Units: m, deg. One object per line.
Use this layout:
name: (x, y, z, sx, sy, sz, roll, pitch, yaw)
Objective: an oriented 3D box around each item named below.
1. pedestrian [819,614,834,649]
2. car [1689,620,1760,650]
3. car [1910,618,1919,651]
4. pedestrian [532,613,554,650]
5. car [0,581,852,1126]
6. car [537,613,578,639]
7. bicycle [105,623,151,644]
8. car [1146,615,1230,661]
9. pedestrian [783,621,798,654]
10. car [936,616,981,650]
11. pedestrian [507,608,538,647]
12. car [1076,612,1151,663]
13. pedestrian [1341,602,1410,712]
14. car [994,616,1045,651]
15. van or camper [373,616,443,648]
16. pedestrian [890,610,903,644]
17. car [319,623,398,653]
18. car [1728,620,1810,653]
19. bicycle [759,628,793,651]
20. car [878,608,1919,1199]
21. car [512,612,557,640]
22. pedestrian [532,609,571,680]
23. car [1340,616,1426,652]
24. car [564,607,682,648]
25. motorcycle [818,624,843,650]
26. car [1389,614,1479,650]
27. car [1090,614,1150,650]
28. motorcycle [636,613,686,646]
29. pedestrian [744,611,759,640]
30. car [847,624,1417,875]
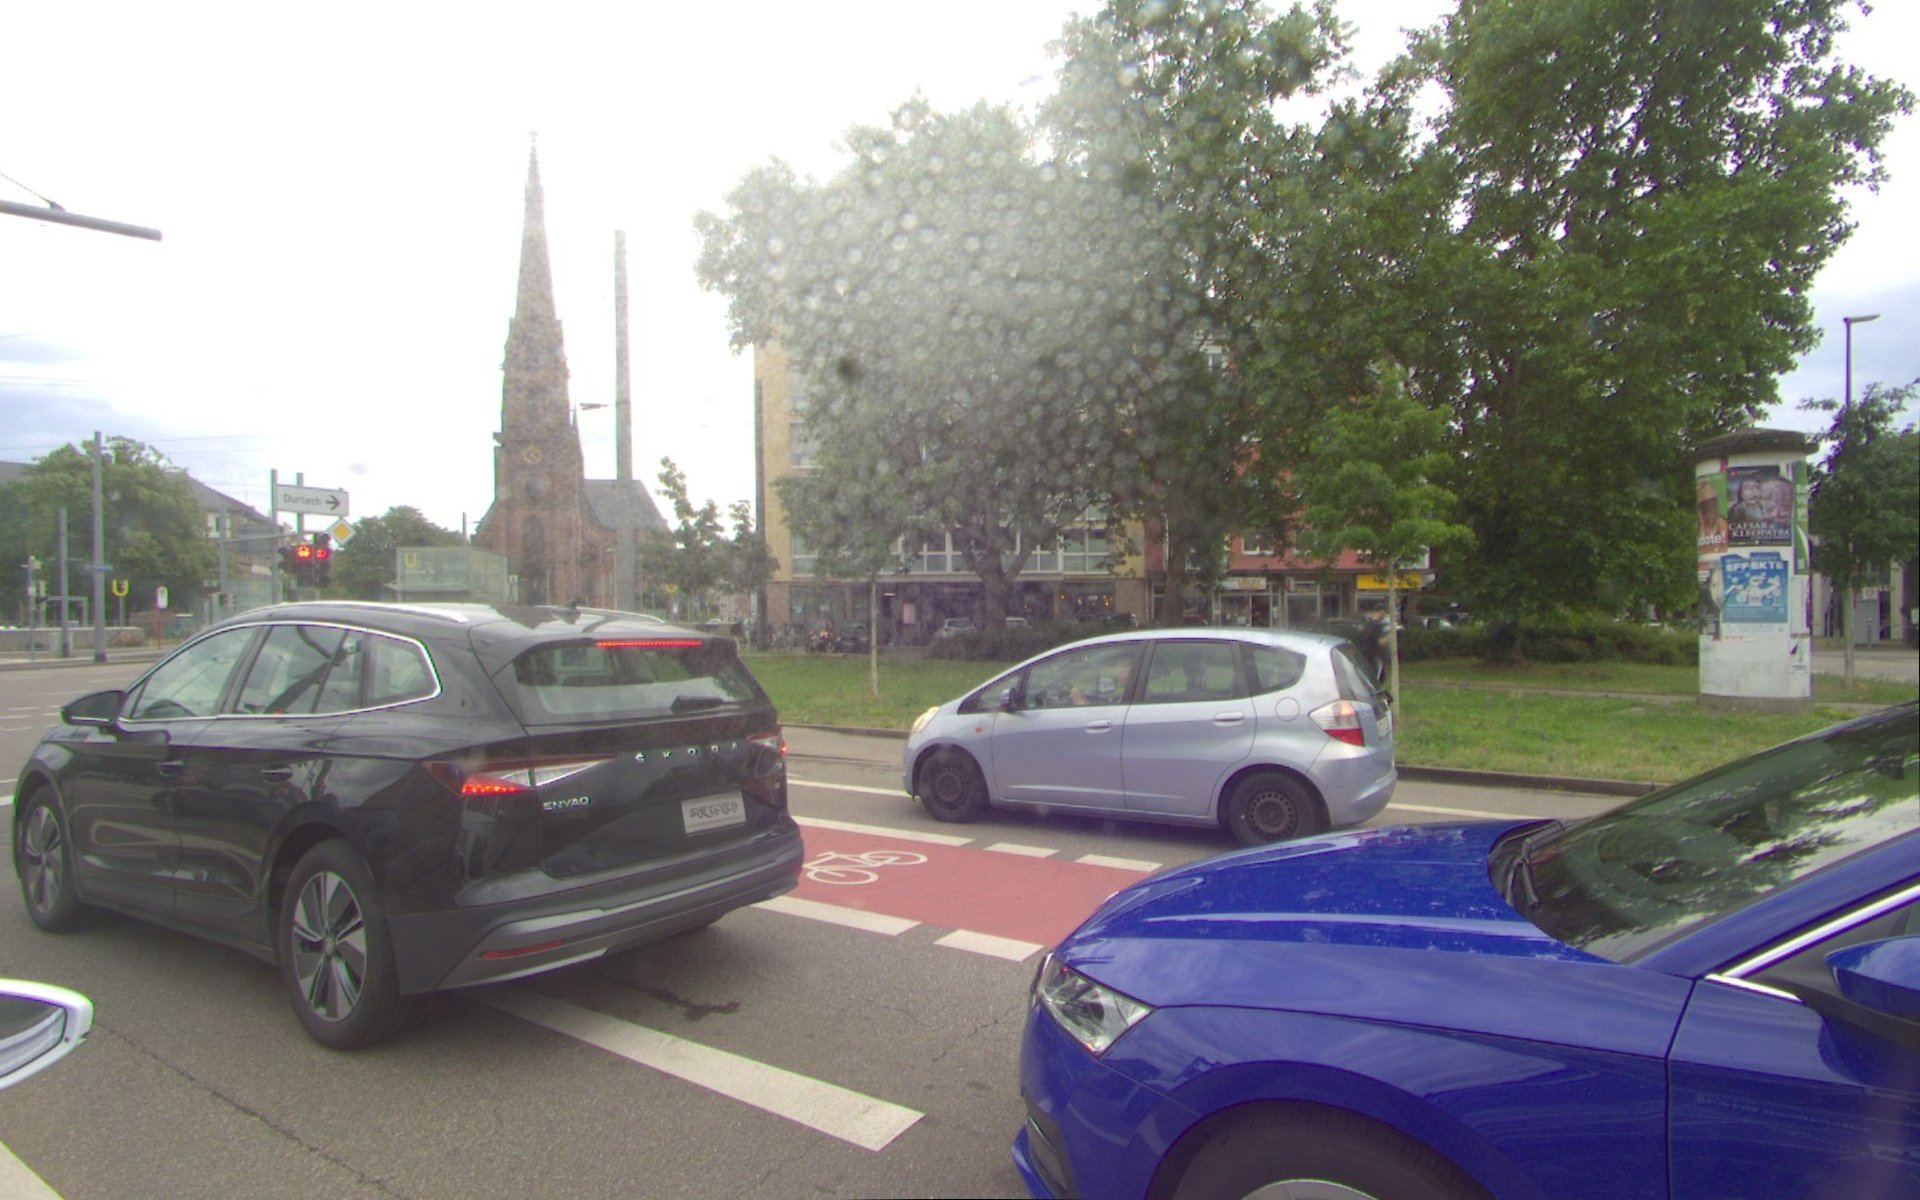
pedestrian: (-6.546, 1.536, 48.982, 0.625, 1.659, 0.872, 0, 0, 0)
car: (45.378, 2.030, 59.548, 1.828, 1.644, 4.469, -2, -1, 17)
car: (46.518, 1.601, 46.333, 1.865, 1.568, 4.469, -2, -1, 17)
pedestrian: (-19.234, 1.455, 46.198, 0.625, 1.659, 0.872, 0, 0, -1)
car: (-2.834, 0.794, 4.896, 4.444, 1.617, 1.774, -1, -1, 31)
car: (-32.543, 2.058, 81.043, 1.961, 2.040, 4.000, 0, -1, -5)
bicycle: (-55.419, 2.233, 66.740, 0.699, 1.348, 2.252, -2, -1, 39)
car: (8.246, 1.342, 36.667, 1.825, 1.568, 4.476, 0, -1, -3)
pedestrian: (-8.518, 1.888, 50.403, 0.625, 1.659, 0.872, 0, 0, -1)
car: (-0.136, 1.497, 46.146, 1.825, 1.509, 4.476, 0, -1, -3)
pedestrian: (-21.049, 1.335, 48.222, 1.066, 1.820, 0.947, -1, -1, -2)
car: (5.511, 1.325, 36.469, 1.825, 1.745, 4.476, 0, -1, -3)
pedestrian: (7.203, 0.970, 17.382, 0.968, 1.868, 0.536, 0, 0, -11)
car: (2.681, 1.507, 46.193, 1.825, 1.509, 4.476, 0, -1, -3)
van or camper: (-33.008, 1.893, 60.000, 1.961, 1.764, 4.305, -2, -1, -3)
pedestrian: (-3.175, 1.350, 50.207, 0.625, 1.659, 0.872, 0, 0, 0)
car: (-32.241, 2.027, 53.831, 1.740, 1.483, 4.001, -2, -1, 1)
car: (43.541, 1.953, 54.010, 1.828, 1.644, 4.469, -2, -1, 17)
bicycle: (-7.437, 1.598, 40.451, 1.240, 0.929, 0.595, 0, 0, 2)
car: (2.156, 0.762, 1.671, 4.402, 1.508, 1.776, -1, -1, 32)
car: (-32.455, 1.978, 76.491, 1.961, 2.040, 4.000, 0, -1, -5)
pedestrian: (-11.383, 1.226, 27.923, 0.874, 1.956, 1.016, 0, 0, -16)
car: (19.522, 1.538, 46.439, 1.825, 1.568, 4.476, 0, -1, -5)
car: (-18.084, 1.482, 53.938, 5.674, 2.039, 2.011, -1, -1, -40)
motorcycle: (-5.122, 1.445, 39.548, 0.858, 1.010, 1.014, 0, -1, -13)
car: (21.988, 1.474, 46.674, 1.825, 1.568, 4.476, 0, -1, -5)
car: (7.394, 1.462, 46.689, 1.825, 1.568, 4.476, 0, -1, -3)
motorcycle: (-11.104, 1.091, 37.329, 0.753, 1.183, 2.385, 0, -1, 12)
pedestrian: (-11.974, 1.467, 57.562, 0.771, 1.659, 0.637, 0, 0, -4)
car: (1.250, 0.936, 7.807, 4.039, 1.486, 1.746, -1, -1, 32)
